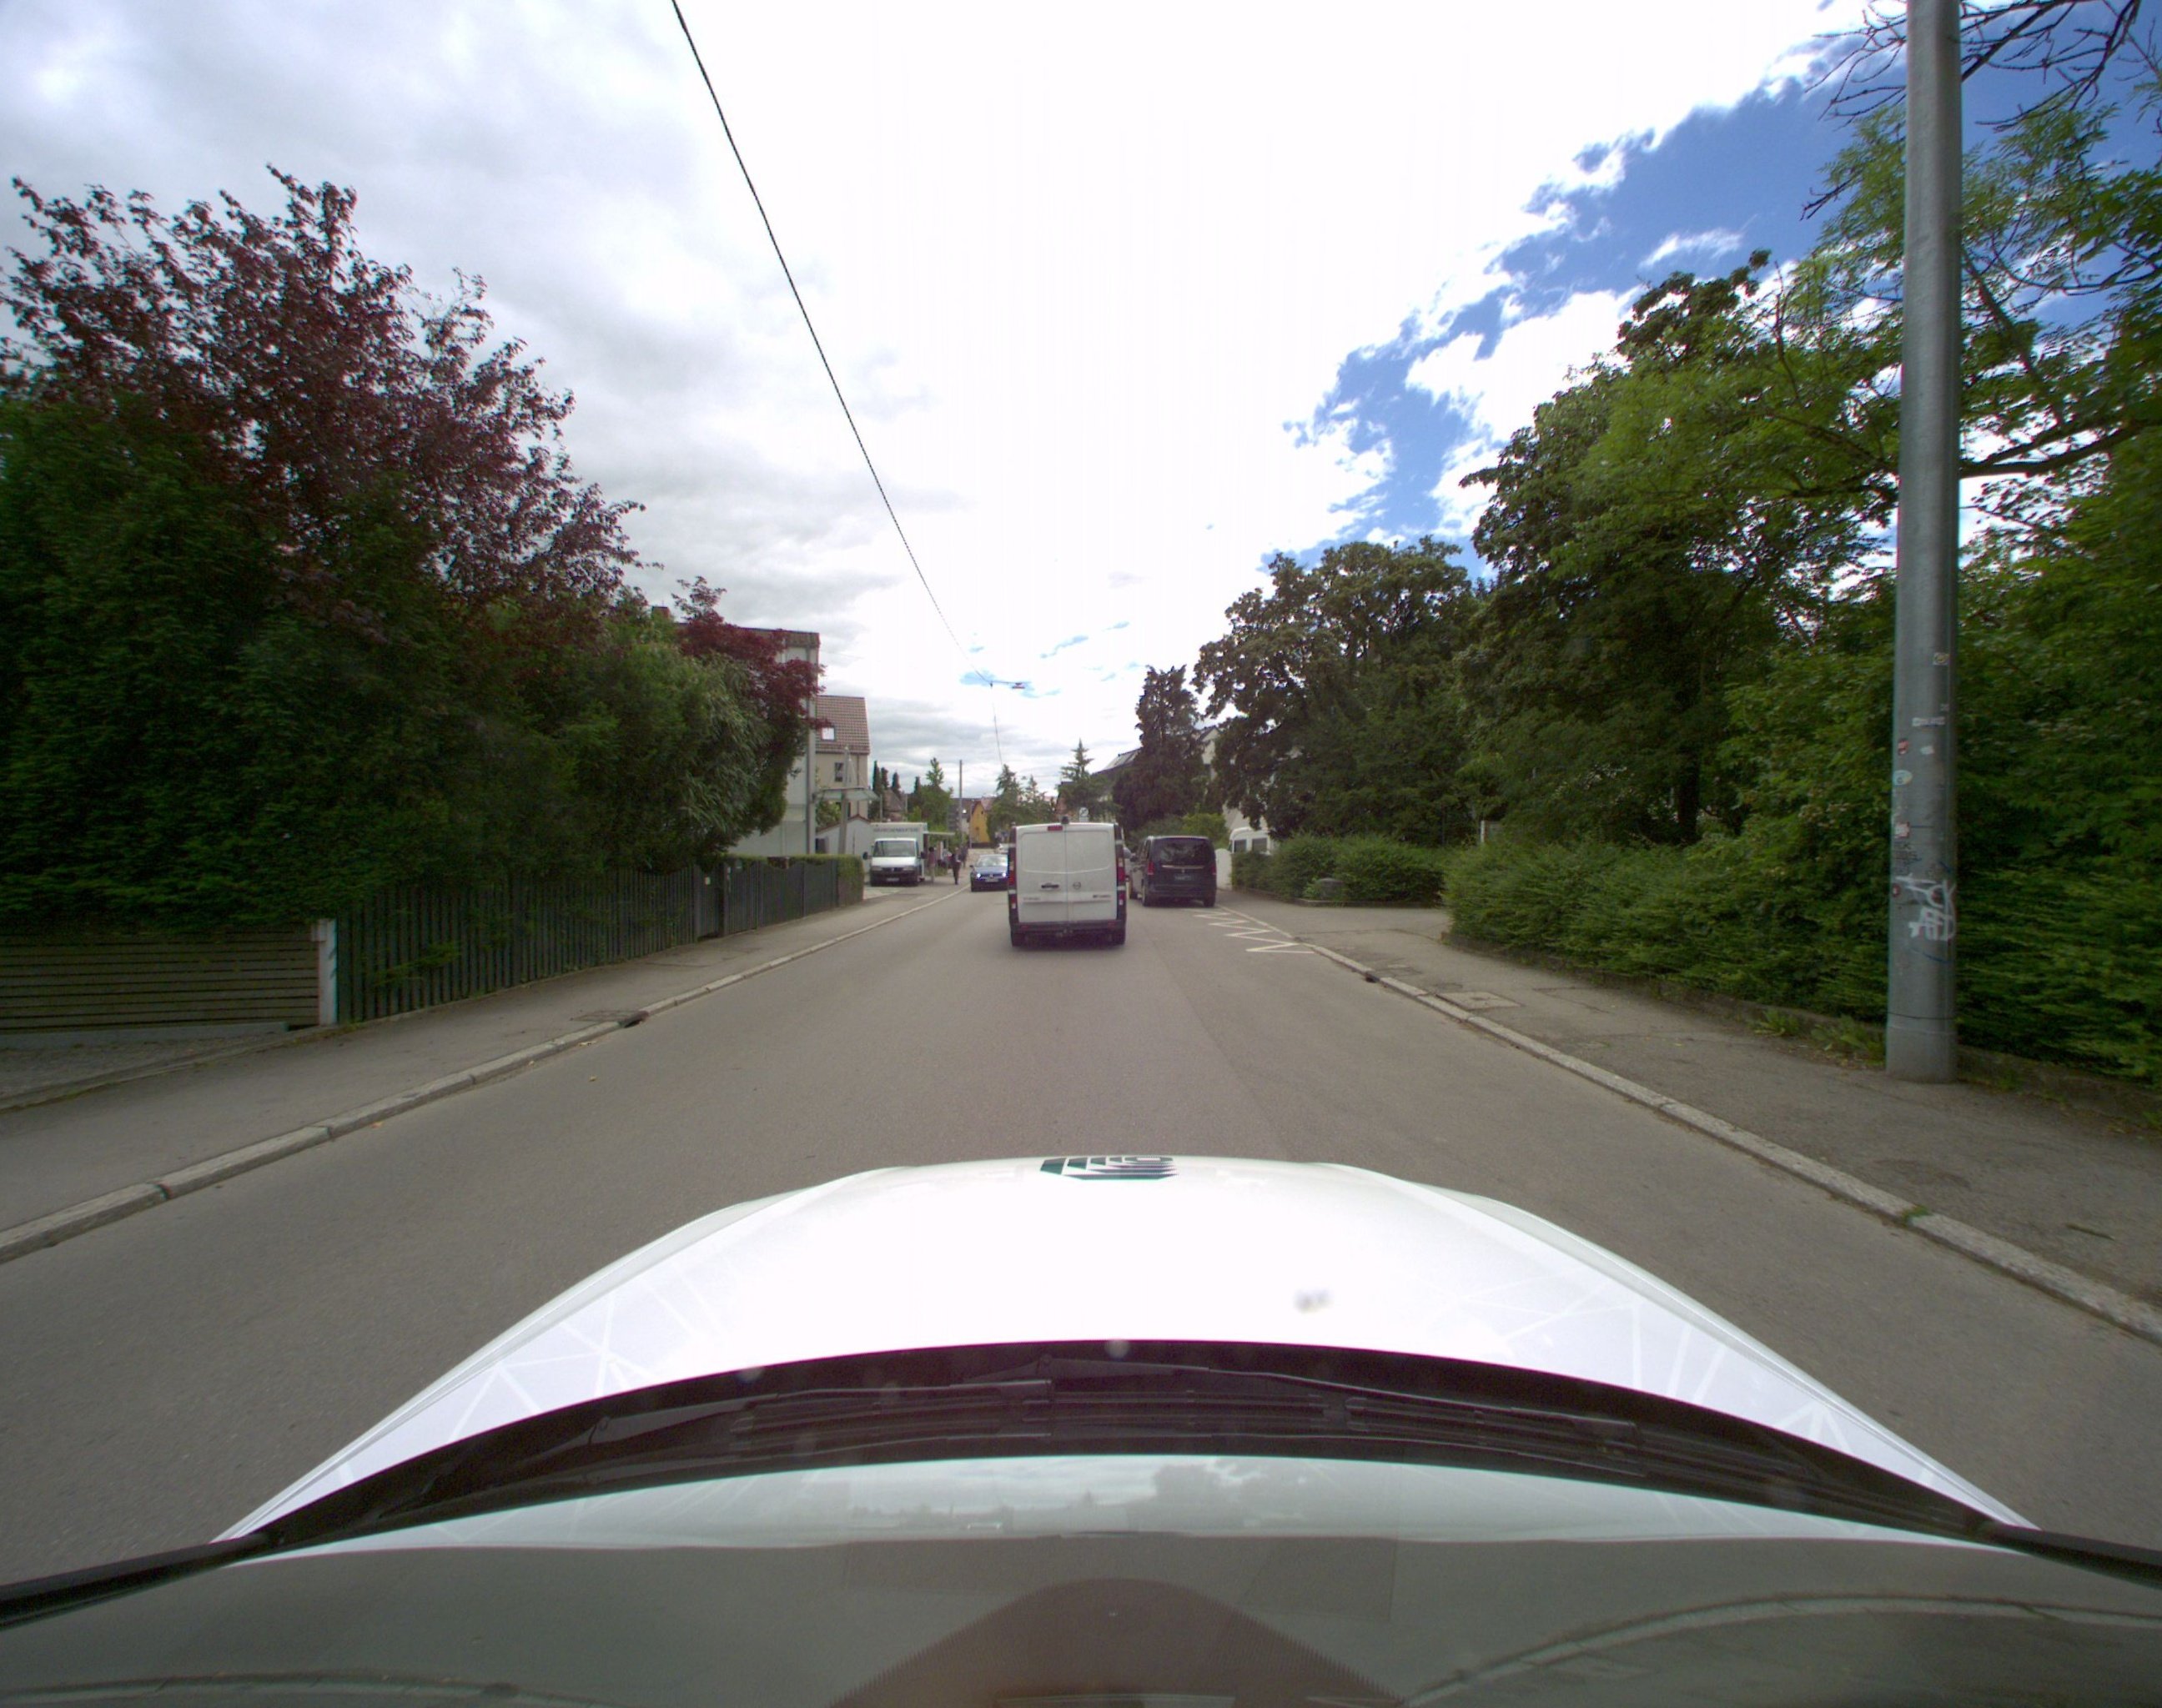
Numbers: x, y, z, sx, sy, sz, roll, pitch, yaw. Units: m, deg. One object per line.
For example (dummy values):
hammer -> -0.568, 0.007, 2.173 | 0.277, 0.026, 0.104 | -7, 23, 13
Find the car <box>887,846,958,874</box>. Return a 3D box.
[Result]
car -> -10.331, 0.383, 53.053 | 4.322, 1.695, 1.787 | 2, 0, -18

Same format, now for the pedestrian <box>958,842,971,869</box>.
pedestrian -> -8.731, 0.128, 61.157 | 0.731, 1.946, 1.216 | 2, 0, -2

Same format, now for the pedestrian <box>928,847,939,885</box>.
pedestrian -> -6.739, 0.544, 37.214 | 0.401, 1.695, 0.596 | 2, 0, -8

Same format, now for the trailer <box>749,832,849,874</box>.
trailer -> -15.335, -0.076, 44.505 | 4.860, 2.080, 1.699 | 2, 1, -9

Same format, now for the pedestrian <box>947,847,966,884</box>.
pedestrian -> -5.835, 0.540, 38.197 | 0.721, 1.687, 1.108 | 2, 0, -2

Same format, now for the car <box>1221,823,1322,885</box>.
car -> 8.903, 0.008, 38.602 | 2.501, 2.682, 5.161 | 2, 0, -14

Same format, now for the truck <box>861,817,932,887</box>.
truck -> -8.161, -0.083, 36.718 | 2.471, 2.840, 6.690 | 0, 0, -7

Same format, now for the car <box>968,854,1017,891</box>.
car -> -3.591, 0.726, 33.606 | 1.689, 1.432, 3.924 | -1, 0, -2

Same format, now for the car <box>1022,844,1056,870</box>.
car -> -3.132, 0.220, 59.829 | 1.994, 1.848, 3.985 | -1, 0, -11

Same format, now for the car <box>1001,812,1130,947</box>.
car -> -0.352, 0.382, 14.427 | 1.912, 2.002, 4.432 | -1, 0, -4

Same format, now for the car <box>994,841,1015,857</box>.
car -> -8.885, -0.586, 94.422 | 1.994, 1.782, 3.985 | -1, 0, -11

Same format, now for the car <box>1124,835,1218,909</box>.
car -> 2.403, 0.459, 23.161 | 1.904, 1.848, 5.153 | 0, 0, -2

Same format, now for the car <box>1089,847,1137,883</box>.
car -> 1.484, 0.512, 39.316 | 1.757, 1.582, 4.010 | -1, 0, -6
